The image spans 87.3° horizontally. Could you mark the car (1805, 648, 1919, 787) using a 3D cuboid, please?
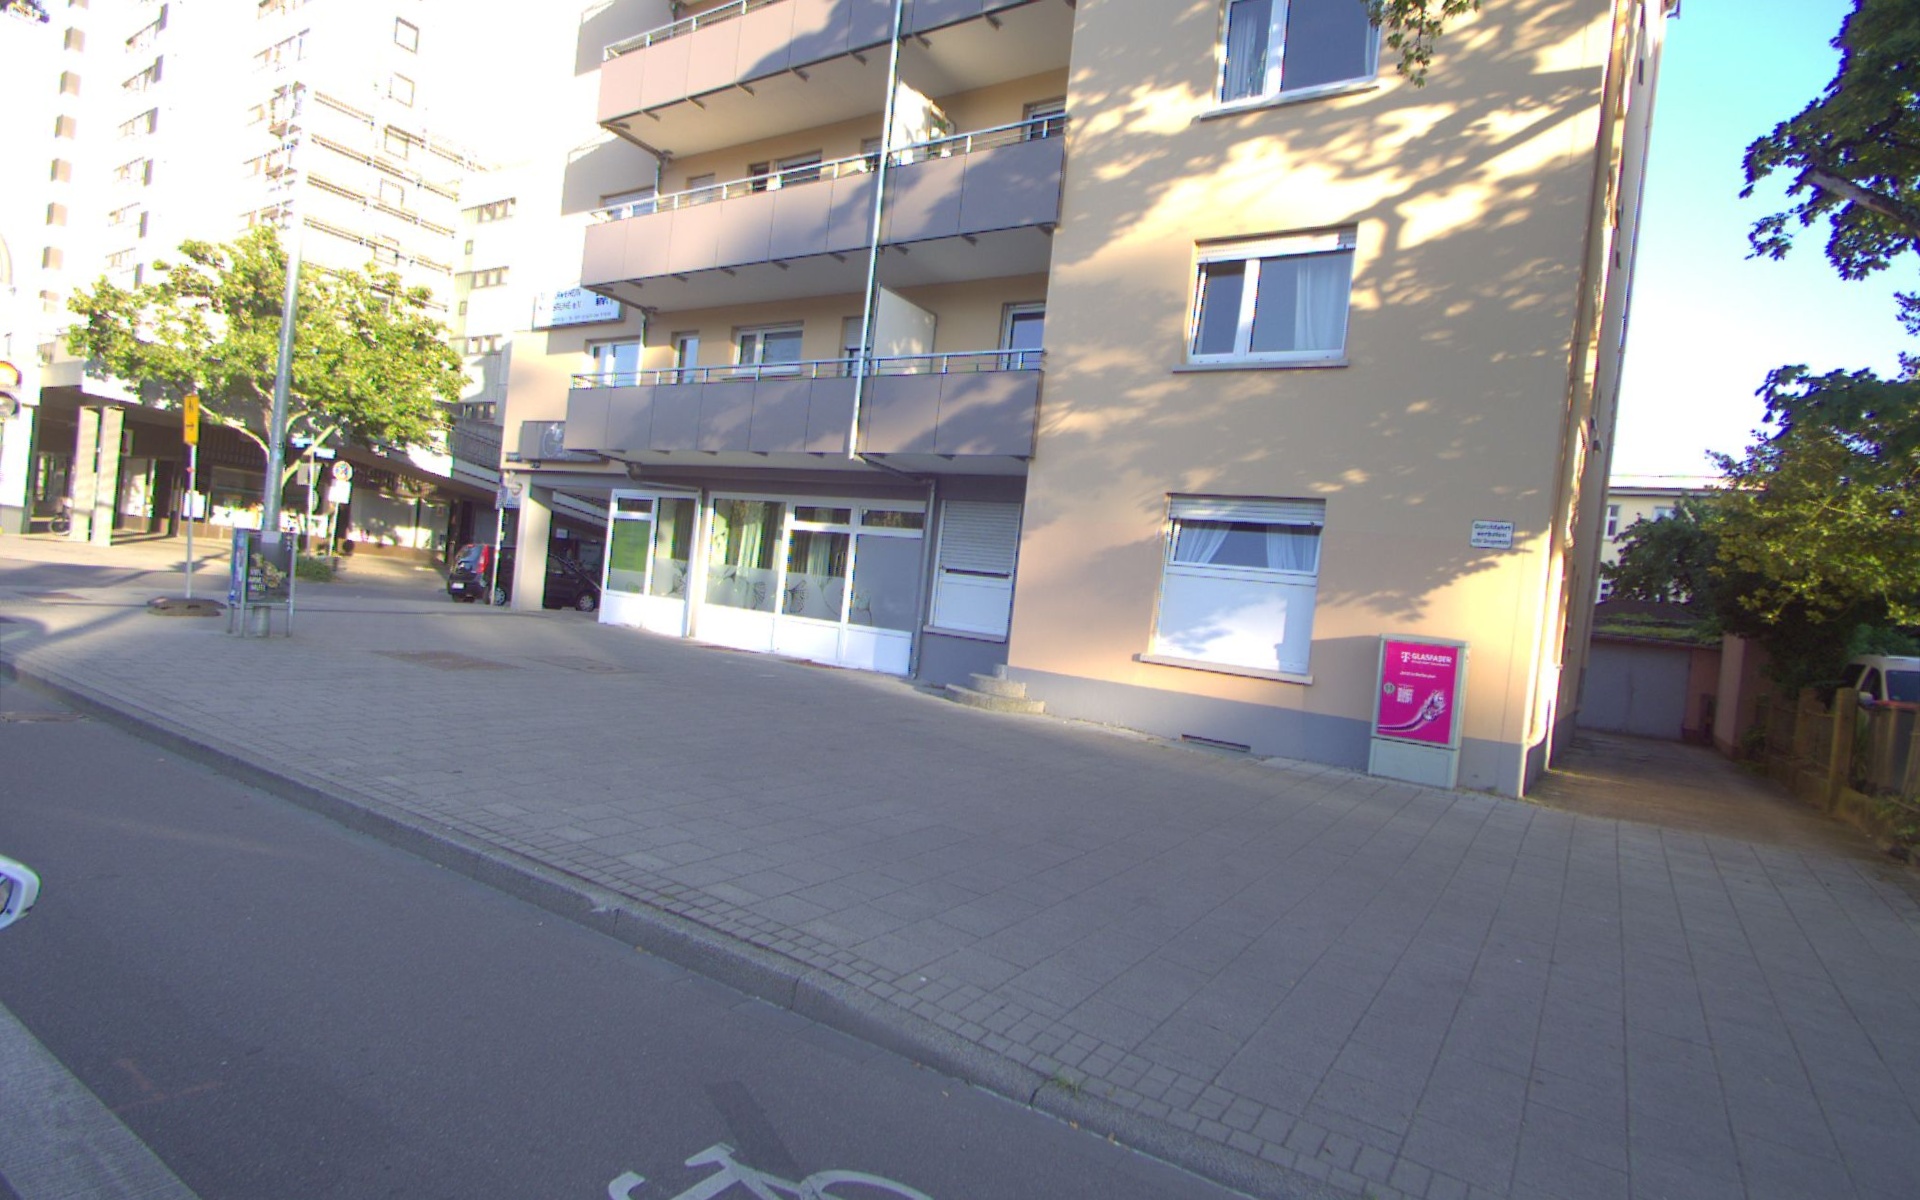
[{"bbox_3d":[14.512,1.749,14.998,1.794,1.780,4.513,8,2,27],"label":"car"}]

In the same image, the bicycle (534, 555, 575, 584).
[{"bbox_3d":[-17.827,-1.342,44.235,1.946,1.086,0.581,5,-3,35],"label":"bicycle"}]

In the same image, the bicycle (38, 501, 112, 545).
[{"bbox_3d":[-29.015,-2.525,33.001,1.984,1.162,0.692,7,-2,14],"label":"bicycle"}]

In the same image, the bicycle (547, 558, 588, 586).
[{"bbox_3d":[-17.411,-1.249,44.623,1.946,1.086,0.581,5,-3,35],"label":"bicycle"}]

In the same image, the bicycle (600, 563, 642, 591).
[{"bbox_3d":[-15.987,-1.078,47.468,1.943,1.087,0.582,6,-3,29],"label":"bicycle"}]

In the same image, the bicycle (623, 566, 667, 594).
[{"bbox_3d":[-15.165,-0.972,48.387,1.941,1.087,0.583,6,-2,21],"label":"bicycle"}]

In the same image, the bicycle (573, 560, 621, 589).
[{"bbox_3d":[-16.837,-1.184,46.619,1.939,1.086,0.584,7,-2,9],"label":"bicycle"}]

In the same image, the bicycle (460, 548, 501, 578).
[{"bbox_3d":[-20.224,-1.581,42.412,1.946,1.086,0.581,5,-3,35],"label":"bicycle"}]

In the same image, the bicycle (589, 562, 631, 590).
[{"bbox_3d":[-16.353,-1.113,47.030,1.943,1.087,0.582,6,-3,29],"label":"bicycle"}]

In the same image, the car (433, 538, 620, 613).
[{"bbox_3d":[-10.928,-0.575,25.619,1.680,1.605,4.037,3,-1,36],"label":"car"}]

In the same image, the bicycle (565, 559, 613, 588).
[{"bbox_3d":[-17.028,-1.213,46.176,1.939,1.087,0.584,7,-2,13],"label":"bicycle"}]

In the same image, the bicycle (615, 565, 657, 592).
[{"bbox_3d":[-15.413,-1.031,47.820,1.942,1.087,0.583,6,-3,26],"label":"bicycle"}]
